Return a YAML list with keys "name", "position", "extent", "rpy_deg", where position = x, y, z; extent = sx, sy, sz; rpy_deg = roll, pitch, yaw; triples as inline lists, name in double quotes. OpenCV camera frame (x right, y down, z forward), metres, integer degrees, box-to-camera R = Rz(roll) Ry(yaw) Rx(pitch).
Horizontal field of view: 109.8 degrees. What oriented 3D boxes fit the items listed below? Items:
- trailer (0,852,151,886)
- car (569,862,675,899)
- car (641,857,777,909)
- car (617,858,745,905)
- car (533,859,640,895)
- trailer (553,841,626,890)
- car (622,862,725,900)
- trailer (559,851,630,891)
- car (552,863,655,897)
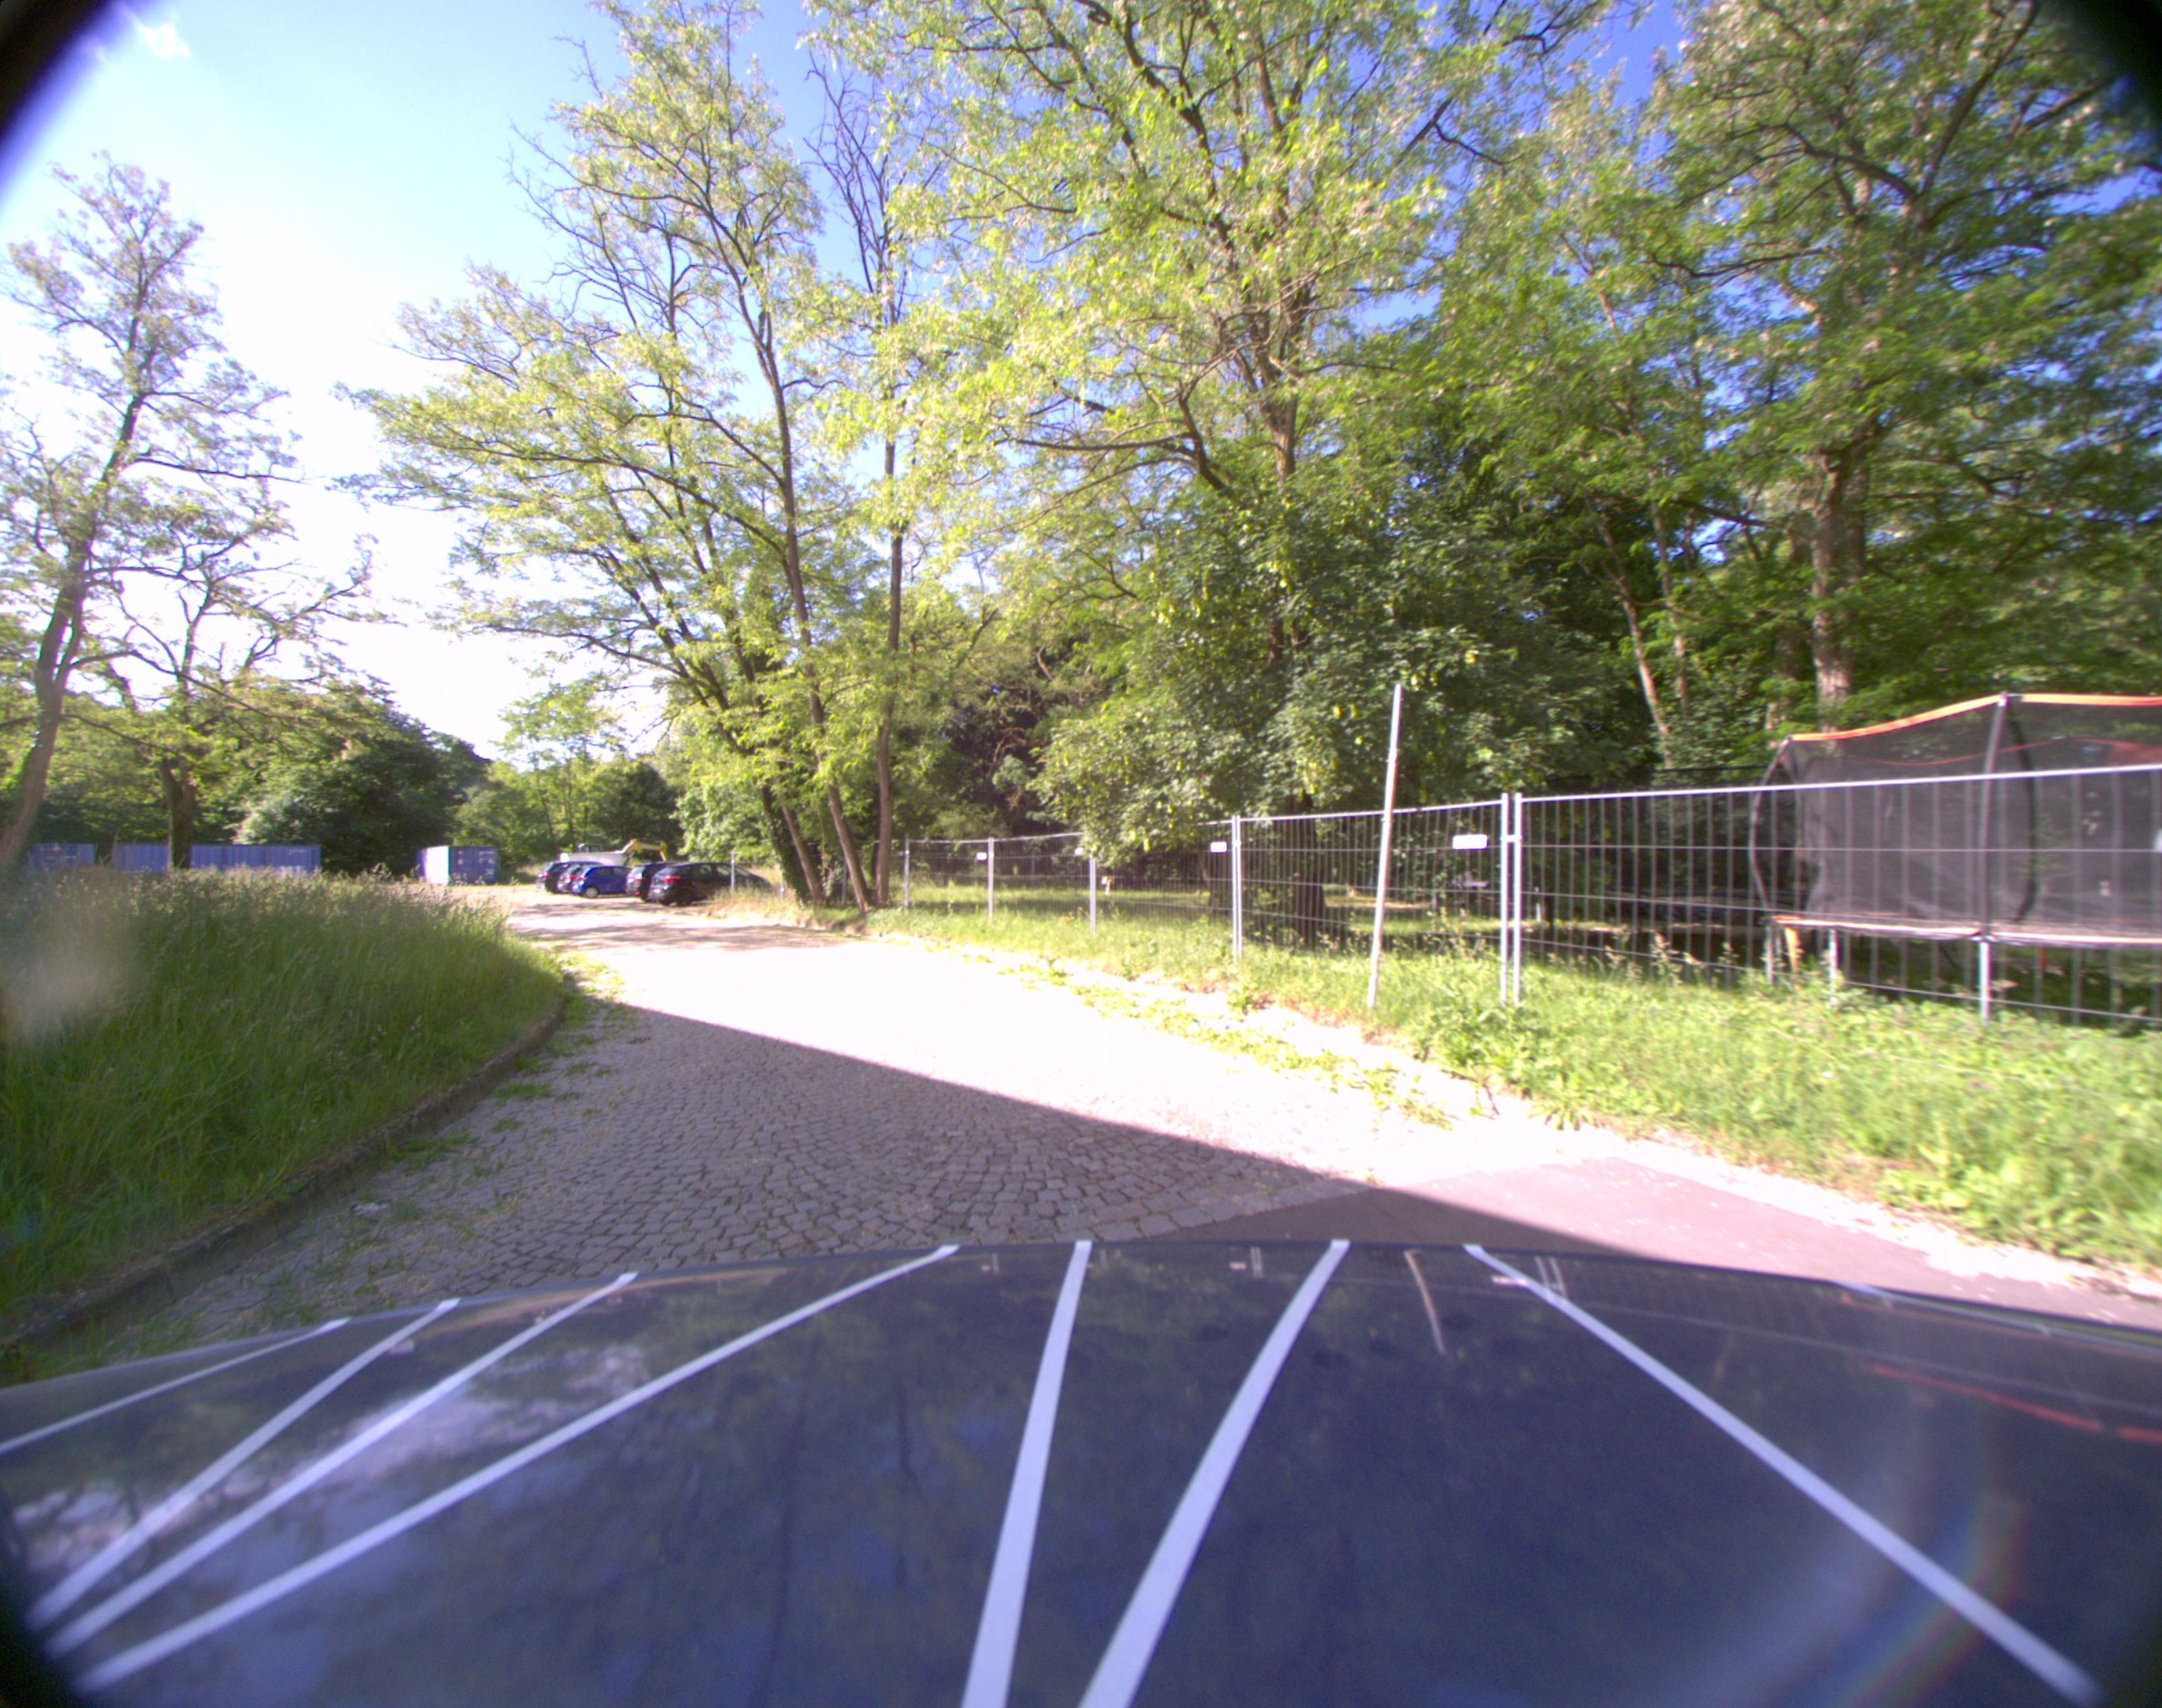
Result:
- name: "trailer"
  position: [-43.862, 0.616, 32.589]
  extent: [2.641, 1.406, 4.873]
  rpy_deg: [0, 0, 43]
- name: "car"
  position: [-21.027, 1.183, 34.888]
  extent: [1.780, 1.450, 3.797]
  rpy_deg: [1, 2, 44]
- name: "car"
  position: [-14.324, 1.068, 29.484]
  extent: [1.824, 1.580, 4.280]
  rpy_deg: [-1, 3, 39]
- name: "car"
  position: [-16.692, 1.075, 31.859]
  extent: [1.875, 1.622, 4.281]
  rpy_deg: [0, 3, 39]
- name: "car"
  position: [-24.823, 1.113, 38.219]
  extent: [1.965, 1.581, 4.139]
  rpy_deg: [1, 1, 43]
- name: "trailer"
  position: [-27.608, 0.606, 42.719]
  extent: [2.259, 2.525, 2.855]
  rpy_deg: [1, 4, 45]
- name: "car"
  position: [-18.268, 1.169, 34.121]
  extent: [3.732, 1.443, 1.739]
  rpy_deg: [-2, 2, -41]
- name: "trailer"
  position: [-26.202, 0.872, 40.983]
  extent: [1.819, 2.039, 2.856]
  rpy_deg: [1, 2, 45]
- name: "car"
  position: [-22.983, 1.199, 36.650]
  extent: [1.889, 1.403, 3.797]
  rpy_deg: [1, 1, 43]
